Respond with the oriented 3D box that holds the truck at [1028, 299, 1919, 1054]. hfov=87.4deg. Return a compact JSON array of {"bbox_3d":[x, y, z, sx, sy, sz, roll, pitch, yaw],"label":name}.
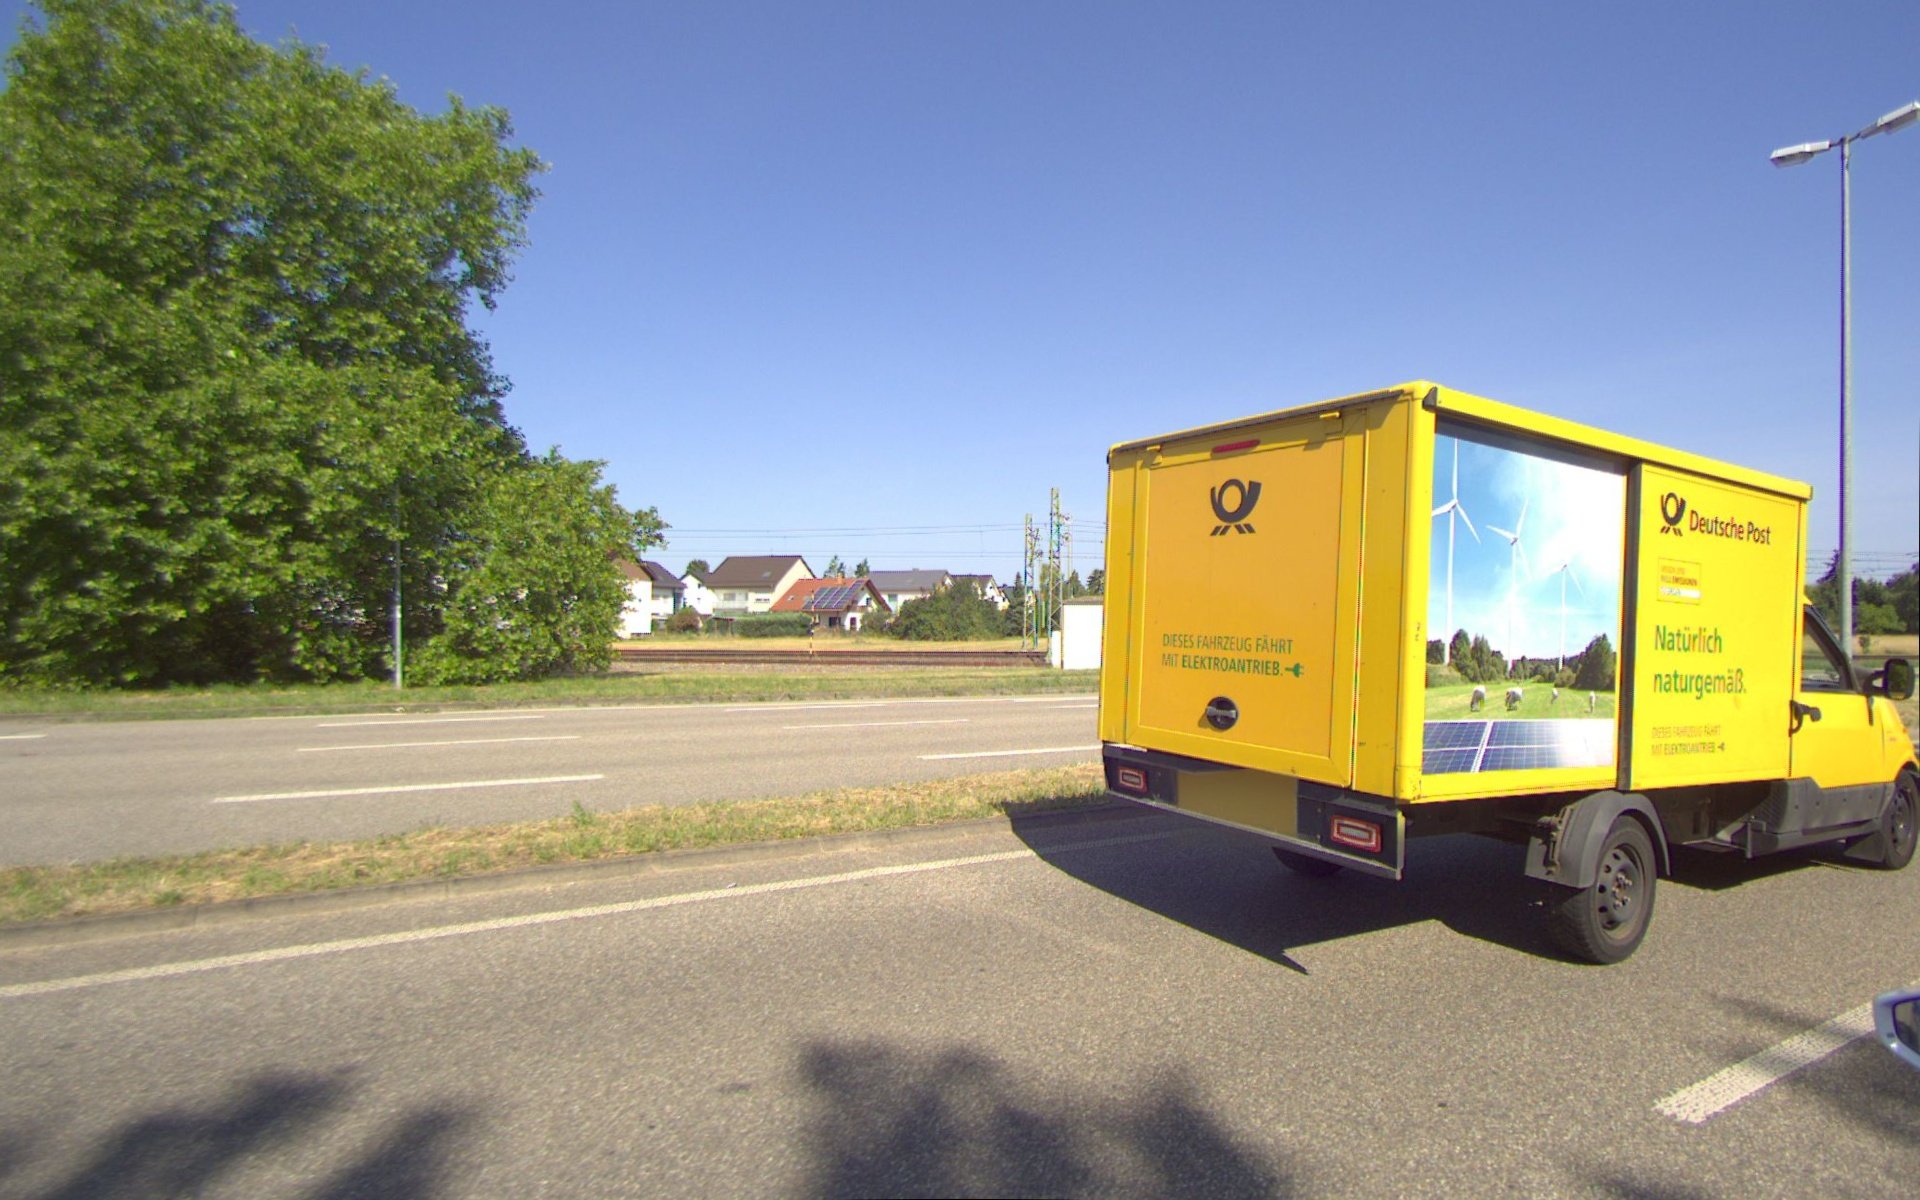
[{"bbox_3d":[3.391,0.303,5.744,5.849,2.490,2.101,1,0,-31],"label":"truck"}]
